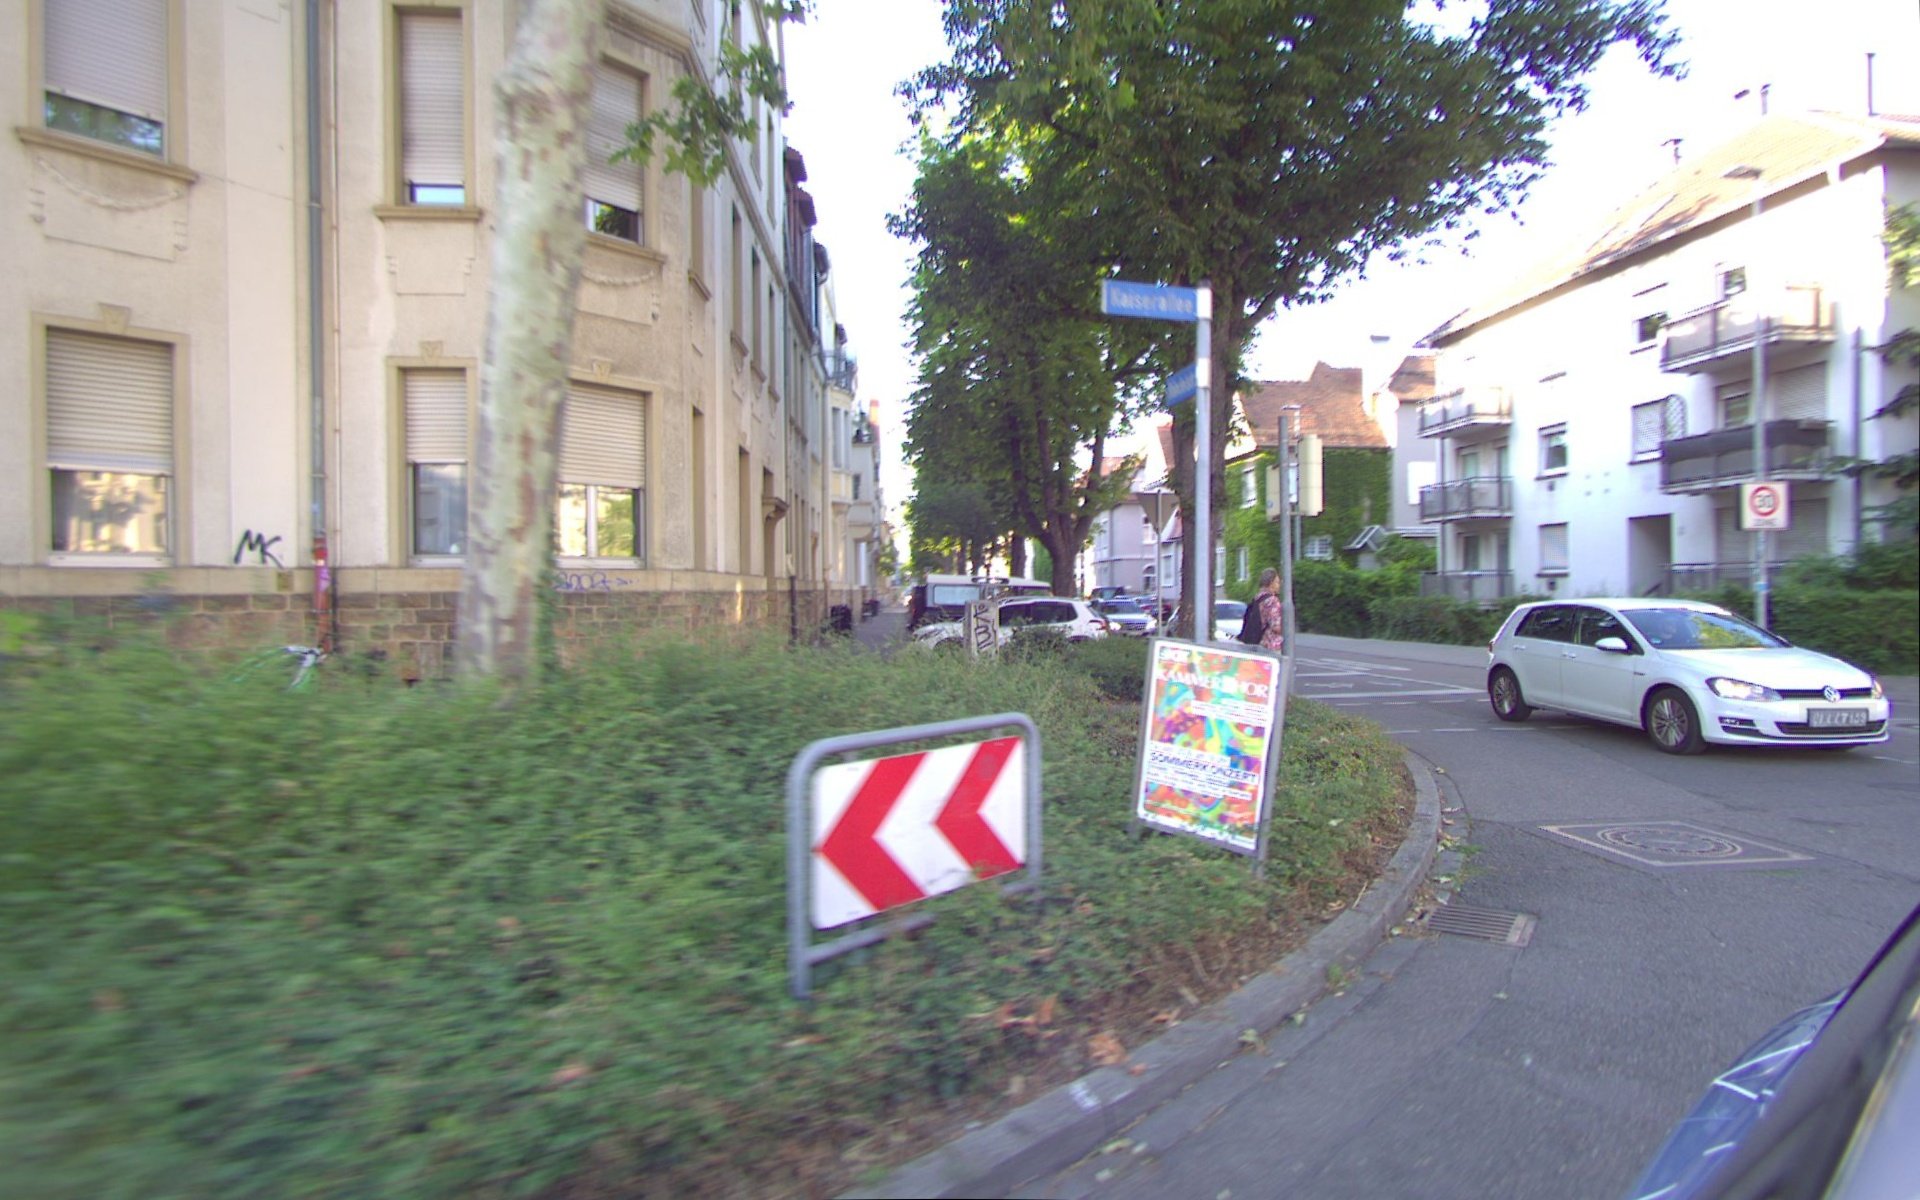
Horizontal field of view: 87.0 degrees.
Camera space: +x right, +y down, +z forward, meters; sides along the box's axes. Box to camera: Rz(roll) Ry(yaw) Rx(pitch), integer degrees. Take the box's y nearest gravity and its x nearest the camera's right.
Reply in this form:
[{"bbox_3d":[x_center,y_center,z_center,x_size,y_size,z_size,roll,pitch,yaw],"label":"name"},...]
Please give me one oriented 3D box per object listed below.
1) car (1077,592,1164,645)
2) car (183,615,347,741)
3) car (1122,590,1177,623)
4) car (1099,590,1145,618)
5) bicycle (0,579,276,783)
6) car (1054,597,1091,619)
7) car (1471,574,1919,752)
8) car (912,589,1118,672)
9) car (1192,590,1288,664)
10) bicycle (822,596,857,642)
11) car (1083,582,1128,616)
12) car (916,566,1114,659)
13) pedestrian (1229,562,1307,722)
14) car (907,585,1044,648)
[{"bbox_3d":[5.277,0.554,33.826,1.808,1.536,4.757,-2,1,-4],"label":"car"},{"bbox_3d":[-6.340,0.671,9.246,0.924,0.959,1.049,5,5,42],"label":"car"},{"bbox_3d":[9.332,0.300,50.090,1.660,1.472,4.003,-2,0,-4],"label":"car"},{"bbox_3d":[9.011,0.217,56.555,1.660,1.472,4.003,-2,0,-4],"label":"car"},{"bbox_3d":[-7.380,0.615,7.999,0.948,1.490,3.114,-1,1,39],"label":"bicycle"},{"bbox_3d":[8.035,0.556,72.589,1.786,1.446,4.292,-2,0,-4],"label":"car"},{"bbox_3d":[7.471,0.507,10.709,1.808,1.468,4.114,-2,1,-4],"label":"car"},{"bbox_3d":[1.047,0.586,20.561,3.968,1.595,1.685,0,0,-5],"label":"car"},{"bbox_3d":[6.613,0.579,24.250,1.815,1.536,4.011,-1,1,10],"label":"car"},{"bbox_3d":[-3.578,0.538,30.281,0.747,1.301,2.203,1,0,0],"label":"bicycle"},{"bbox_3d":[8.761,-0.089,61.212,1.786,1.930,4.292,-2,0,-4],"label":"car"},{"bbox_3d":[1.186,0.259,23.301,4.348,2.008,1.761,0,3,-3],"label":"car"},{"bbox_3d":[3.650,0.481,12.022,0.689,1.829,0.666,-1,0,2],"label":"pedestrian"},{"bbox_3d":[0.492,0.547,35.705,4.619,2.039,2.002,-2,1,-5],"label":"car"}]
